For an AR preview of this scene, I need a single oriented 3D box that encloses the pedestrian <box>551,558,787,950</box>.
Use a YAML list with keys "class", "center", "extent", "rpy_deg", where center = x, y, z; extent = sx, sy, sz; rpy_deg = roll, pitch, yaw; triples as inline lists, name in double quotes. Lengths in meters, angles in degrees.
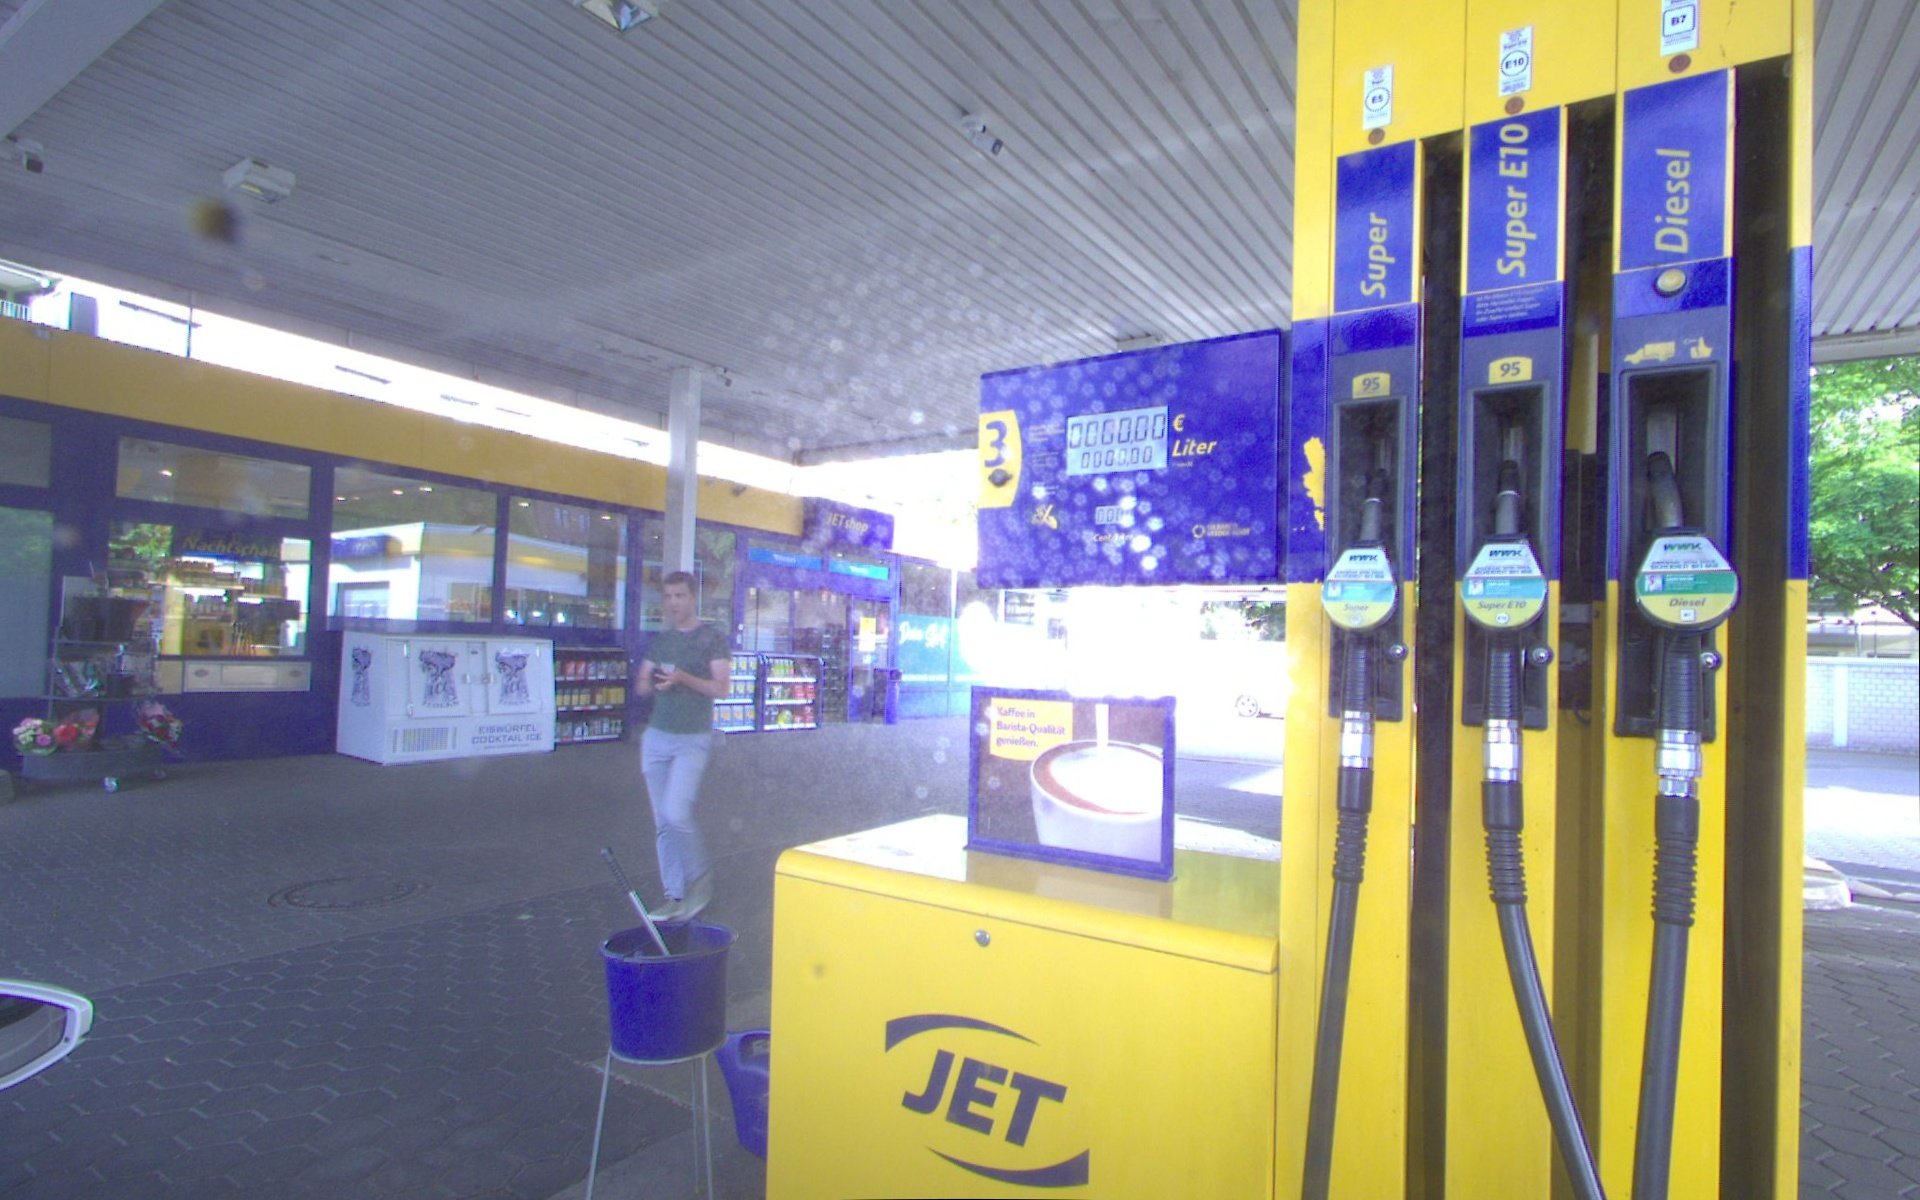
- class: "pedestrian"
  center: [-1.487, 0.748, 5.291]
  extent: [0.788, 1.838, 0.985]
  rpy_deg: [1, -2, 9]
